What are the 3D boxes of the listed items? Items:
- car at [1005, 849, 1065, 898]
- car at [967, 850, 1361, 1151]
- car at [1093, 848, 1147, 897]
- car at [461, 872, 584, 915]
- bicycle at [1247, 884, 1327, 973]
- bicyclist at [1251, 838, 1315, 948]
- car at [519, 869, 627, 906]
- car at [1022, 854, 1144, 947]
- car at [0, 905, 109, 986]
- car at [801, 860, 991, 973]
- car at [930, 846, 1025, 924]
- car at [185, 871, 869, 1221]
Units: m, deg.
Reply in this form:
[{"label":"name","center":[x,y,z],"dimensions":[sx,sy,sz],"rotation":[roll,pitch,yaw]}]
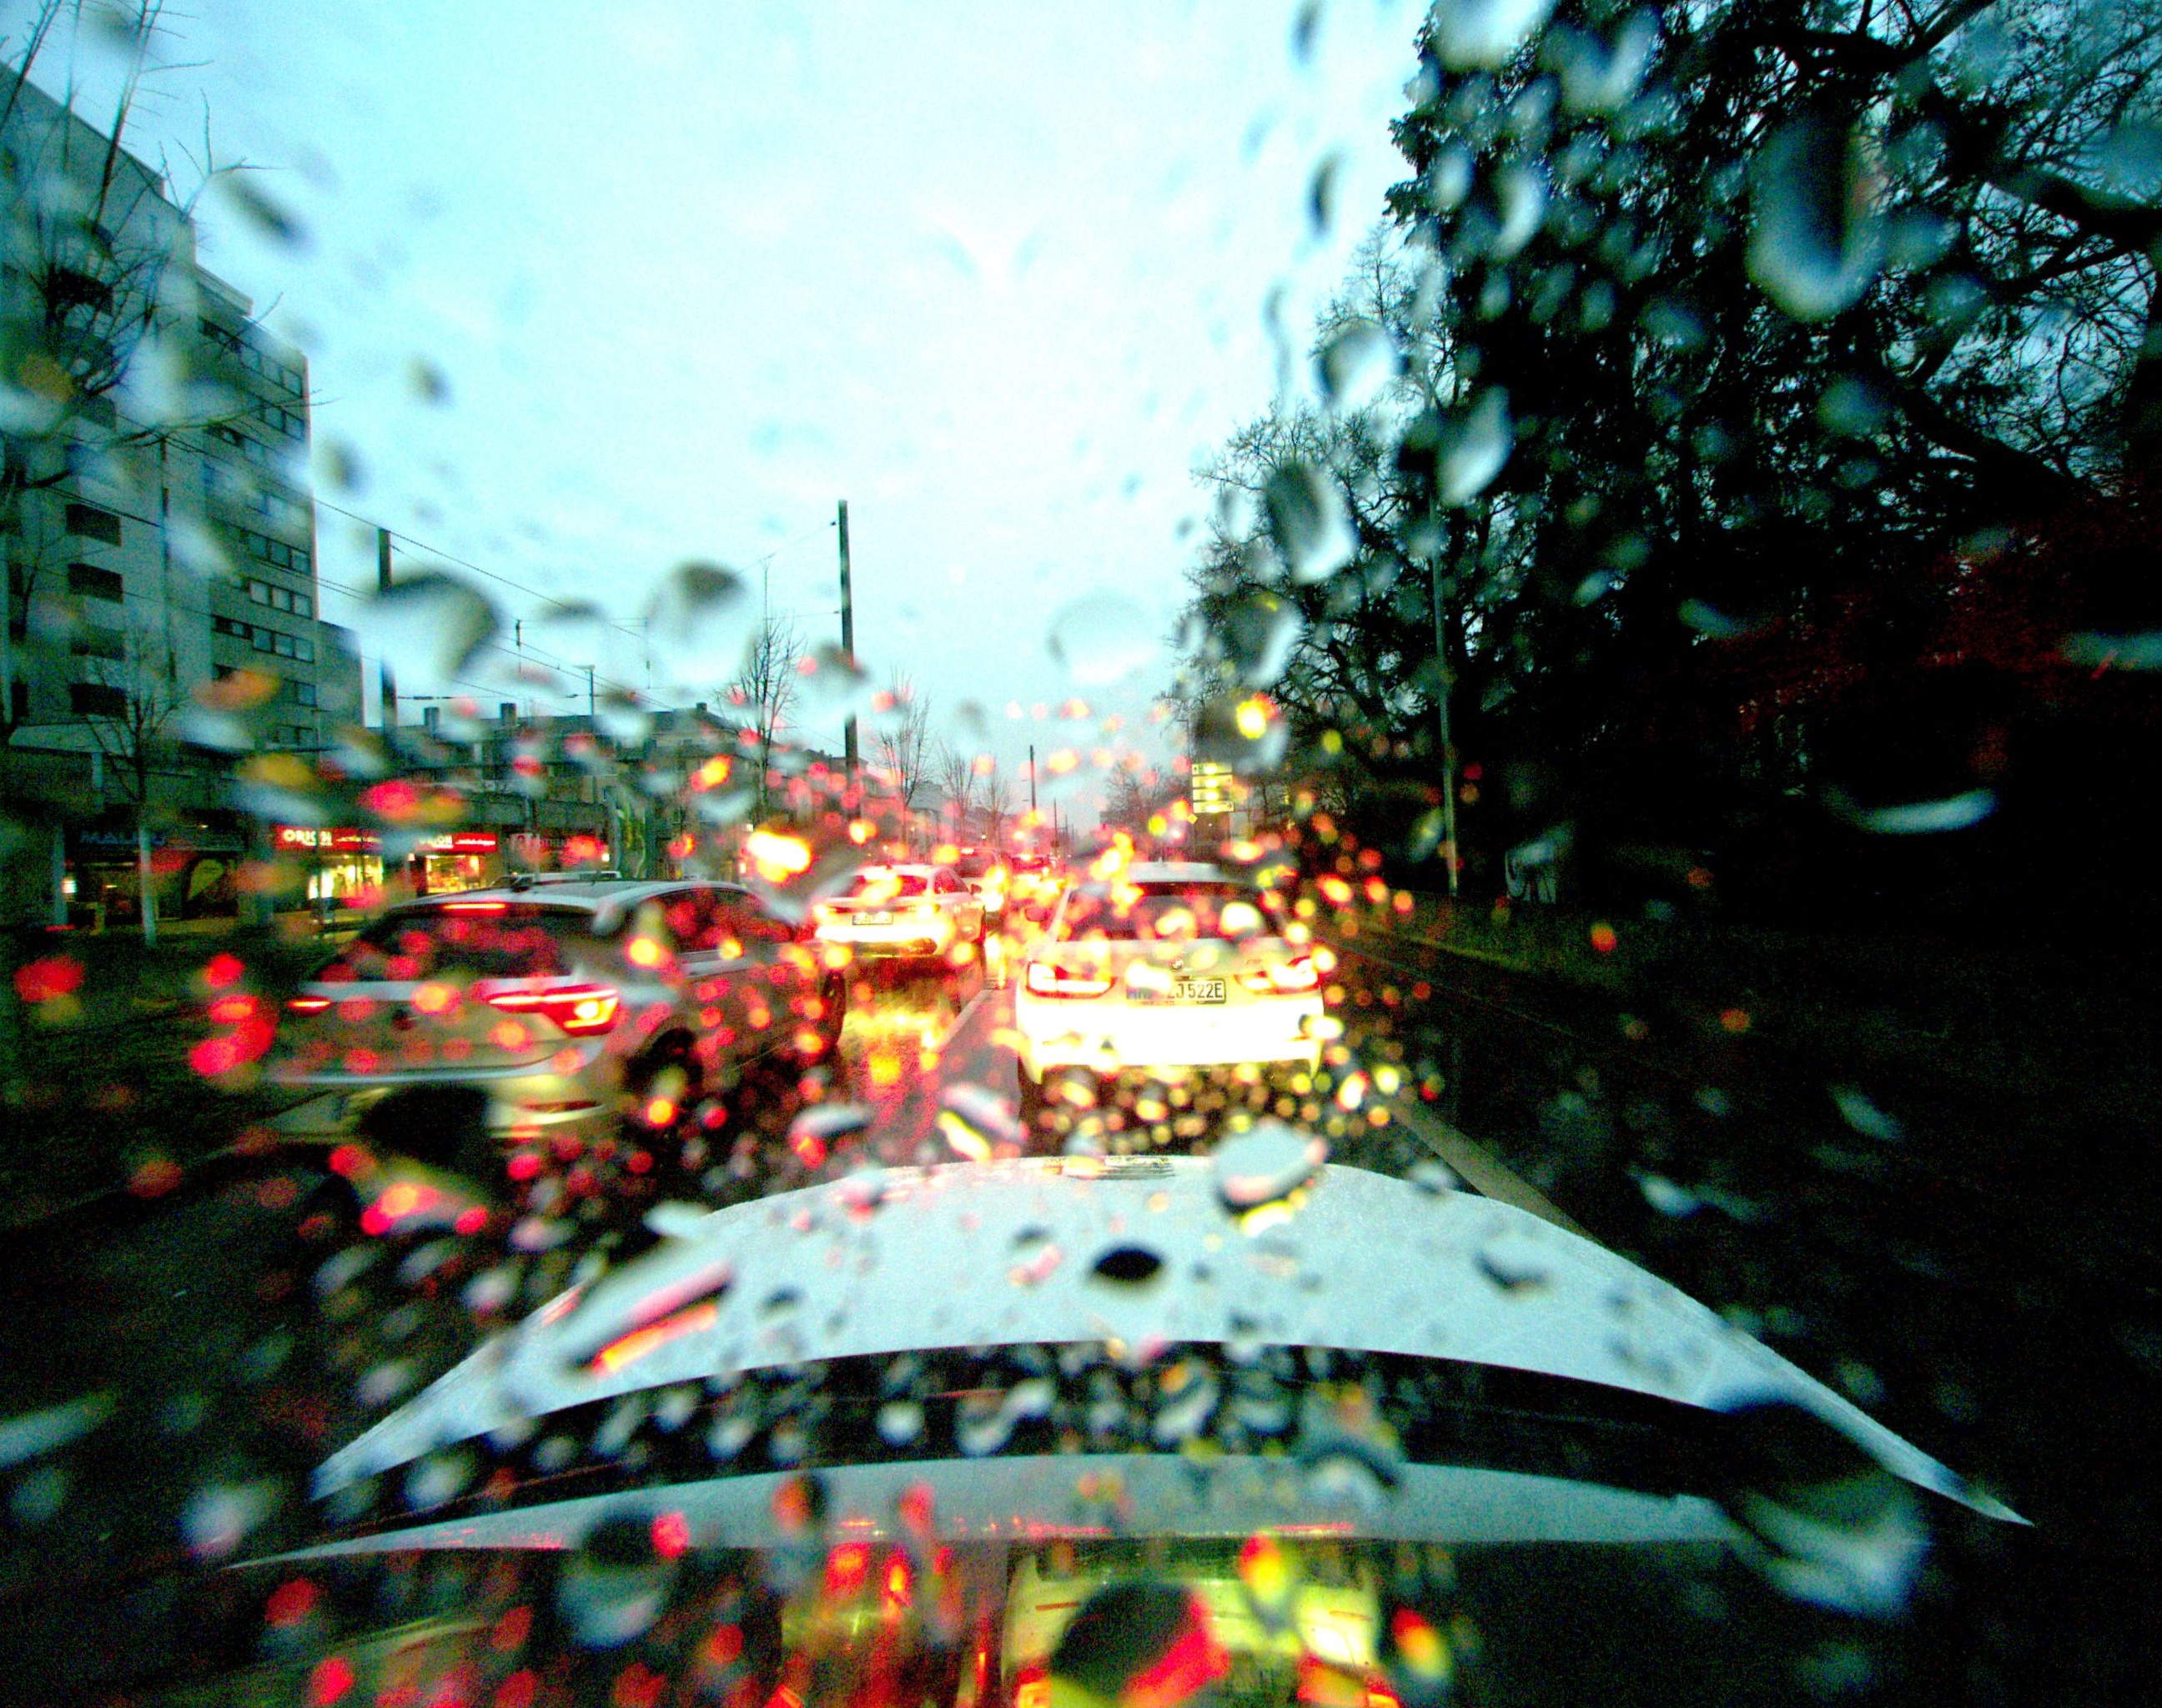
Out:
[{"label":"car","center":[-1.613,0.675,30.007],"dimensions":[1.800,1.646,4.002],"rotation":[-1,0,2]},{"label":"car","center":[0.493,0.755,6.288],"dimensions":[1.992,1.508,4.165],"rotation":[-1,0,2]},{"label":"car","center":[1.402,0.617,29.605],"dimensions":[1.800,1.646,4.002],"rotation":[-1,0,2]},{"label":"car","center":[-29.721,2.060,43.575],"dimensions":[1.977,1.912,5.190],"rotation":[-3,0,20]},{"label":"bicycle","center":[2.696,0.943,10.858],"dimensions":[0.642,0.966,2.049],"rotation":[-2,0,4]},{"label":"bicyclist","center":[2.678,0.502,10.879],"dimensions":[0.642,1.389,0.891],"rotation":[-2,0,4]},{"label":"car","center":[-30.718,2.003,49.377],"dimensions":[5.193,1.912,1.975],"rotation":[-3,0,-44]},{"label":"car","center":[0.102,0.749,15.235],"dimensions":[1.928,1.457,4.165],"rotation":[-1,0,2]},{"label":"car","center":[-24.515,2.086,17.377],"dimensions":[1.889,1.634,4.582],"rotation":[-2,0,2]},{"label":"car","center":[-2.617,0.819,12.729],"dimensions":[1.840,1.405,4.614],"rotation":[-1,0,1]},{"label":"car","center":[-2.511,0.717,20.720],"dimensions":[1.787,1.736,4.536],"rotation":[-1,0,0]},{"label":"car","center":[-2.847,0.847,5.409],"dimensions":[1.756,1.371,3.981],"rotation":[-1,0,1]}]
